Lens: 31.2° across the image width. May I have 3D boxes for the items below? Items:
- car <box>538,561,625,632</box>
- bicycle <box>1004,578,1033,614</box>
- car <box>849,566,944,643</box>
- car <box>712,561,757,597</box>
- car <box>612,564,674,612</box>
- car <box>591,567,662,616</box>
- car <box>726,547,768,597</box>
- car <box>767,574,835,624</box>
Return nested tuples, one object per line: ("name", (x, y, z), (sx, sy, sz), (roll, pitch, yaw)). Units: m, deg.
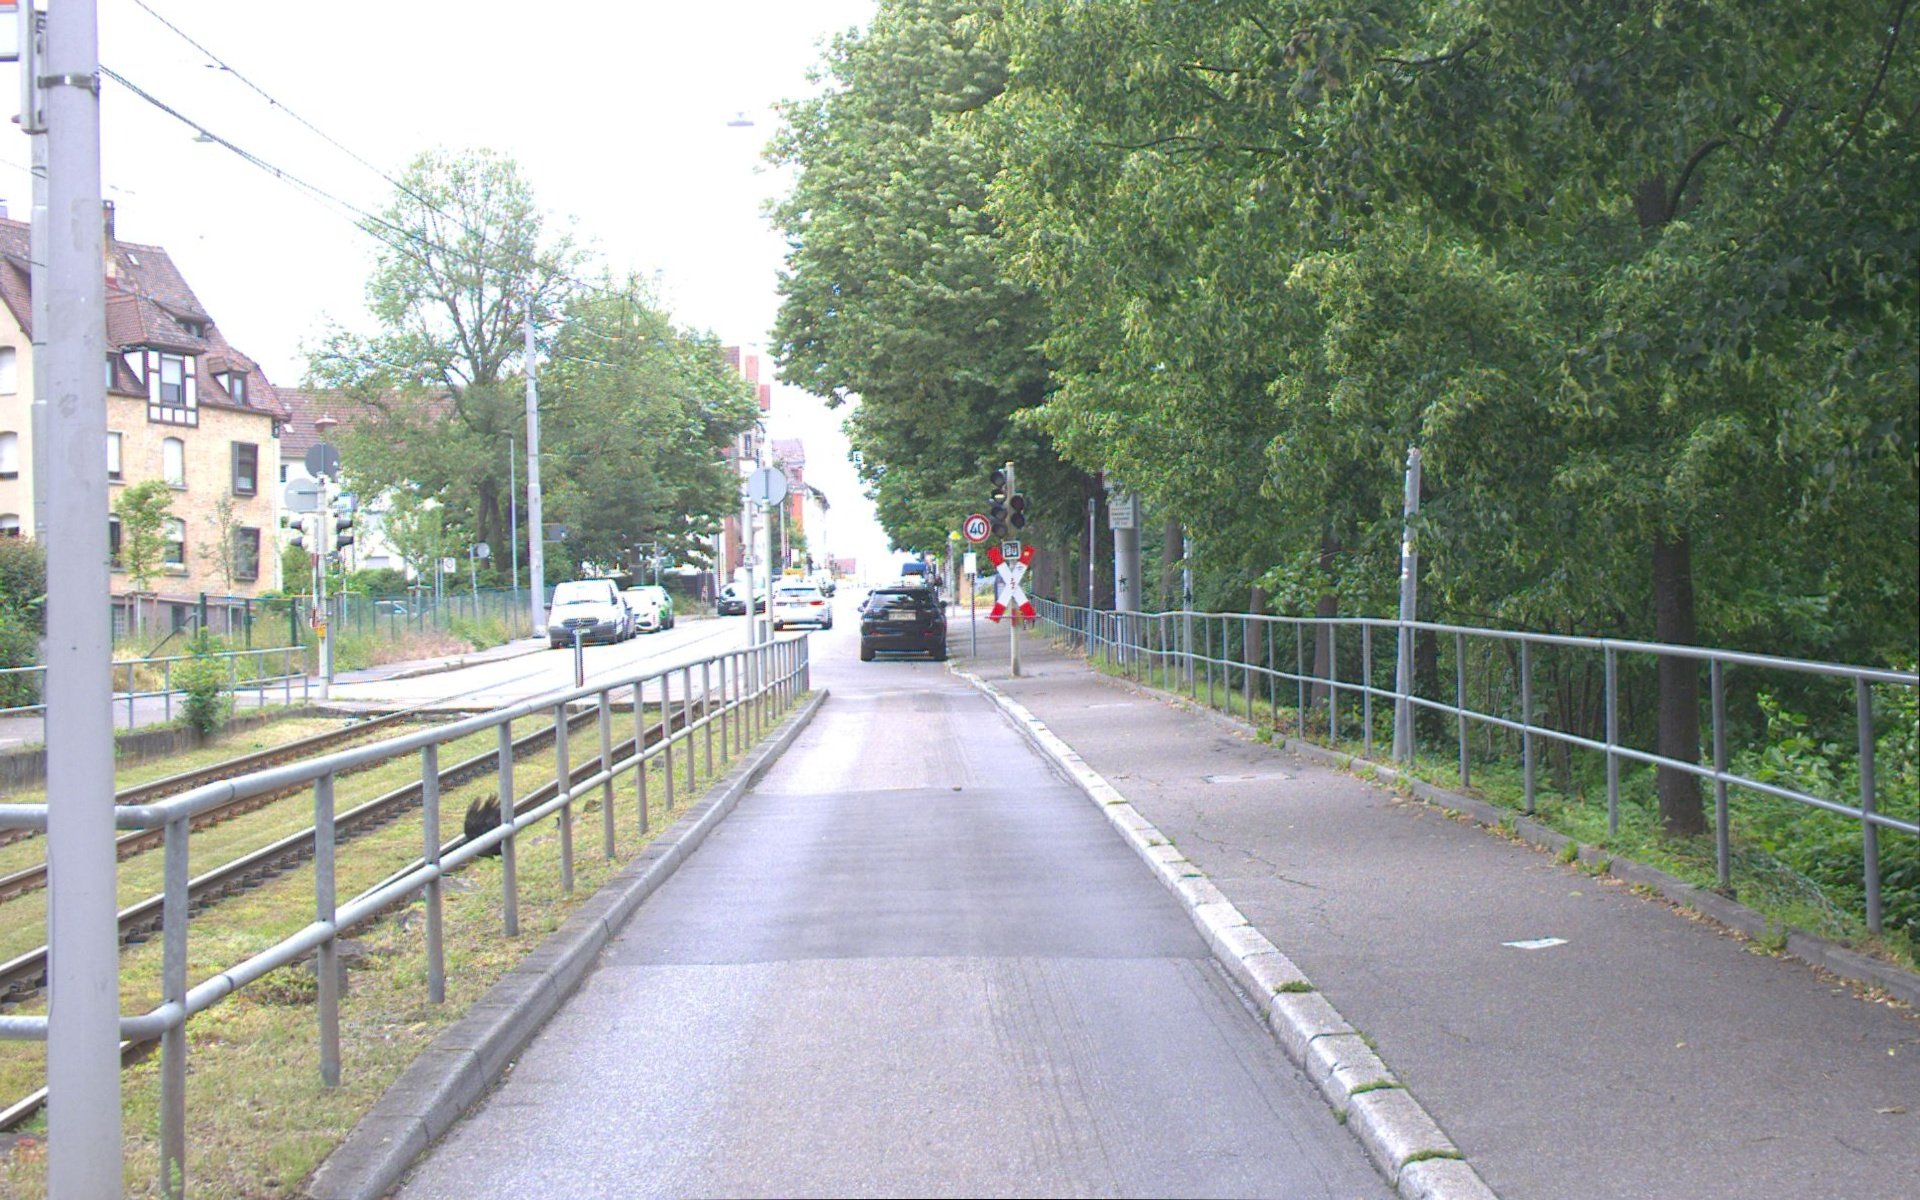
("car", (-10.940, -0.098, 99.699), (2.035, 1.875, 4.885), (-4, 0, -2))
("bicycle", (1.592, -0.106, 93.467), (0.427, 0.972, 1.795), (-1, 0, -10))
("car", (-1.342, 0.069, 74.023), (1.904, 1.609, 4.600), (0, 1, 1))
("car", (-11.812, -1.091, 180.276), (1.993, 1.802, 4.000), (-1, 0, 1))
("car", (-11.035, -0.445, 119.813), (1.723, 1.574, 4.181), (-2, 1, 0))
("car", (-11.045, -0.302, 114.018), (1.885, 1.521, 4.663), (-2, 0, -1))
("car", (-12.042, -1.560, 194.767), (2.230, 2.755, 5.800), (-1, 0, -3))
("car", (-4.937, -0.020, 107.156), (1.993, 1.493, 4.312), (0, 0, -1))
